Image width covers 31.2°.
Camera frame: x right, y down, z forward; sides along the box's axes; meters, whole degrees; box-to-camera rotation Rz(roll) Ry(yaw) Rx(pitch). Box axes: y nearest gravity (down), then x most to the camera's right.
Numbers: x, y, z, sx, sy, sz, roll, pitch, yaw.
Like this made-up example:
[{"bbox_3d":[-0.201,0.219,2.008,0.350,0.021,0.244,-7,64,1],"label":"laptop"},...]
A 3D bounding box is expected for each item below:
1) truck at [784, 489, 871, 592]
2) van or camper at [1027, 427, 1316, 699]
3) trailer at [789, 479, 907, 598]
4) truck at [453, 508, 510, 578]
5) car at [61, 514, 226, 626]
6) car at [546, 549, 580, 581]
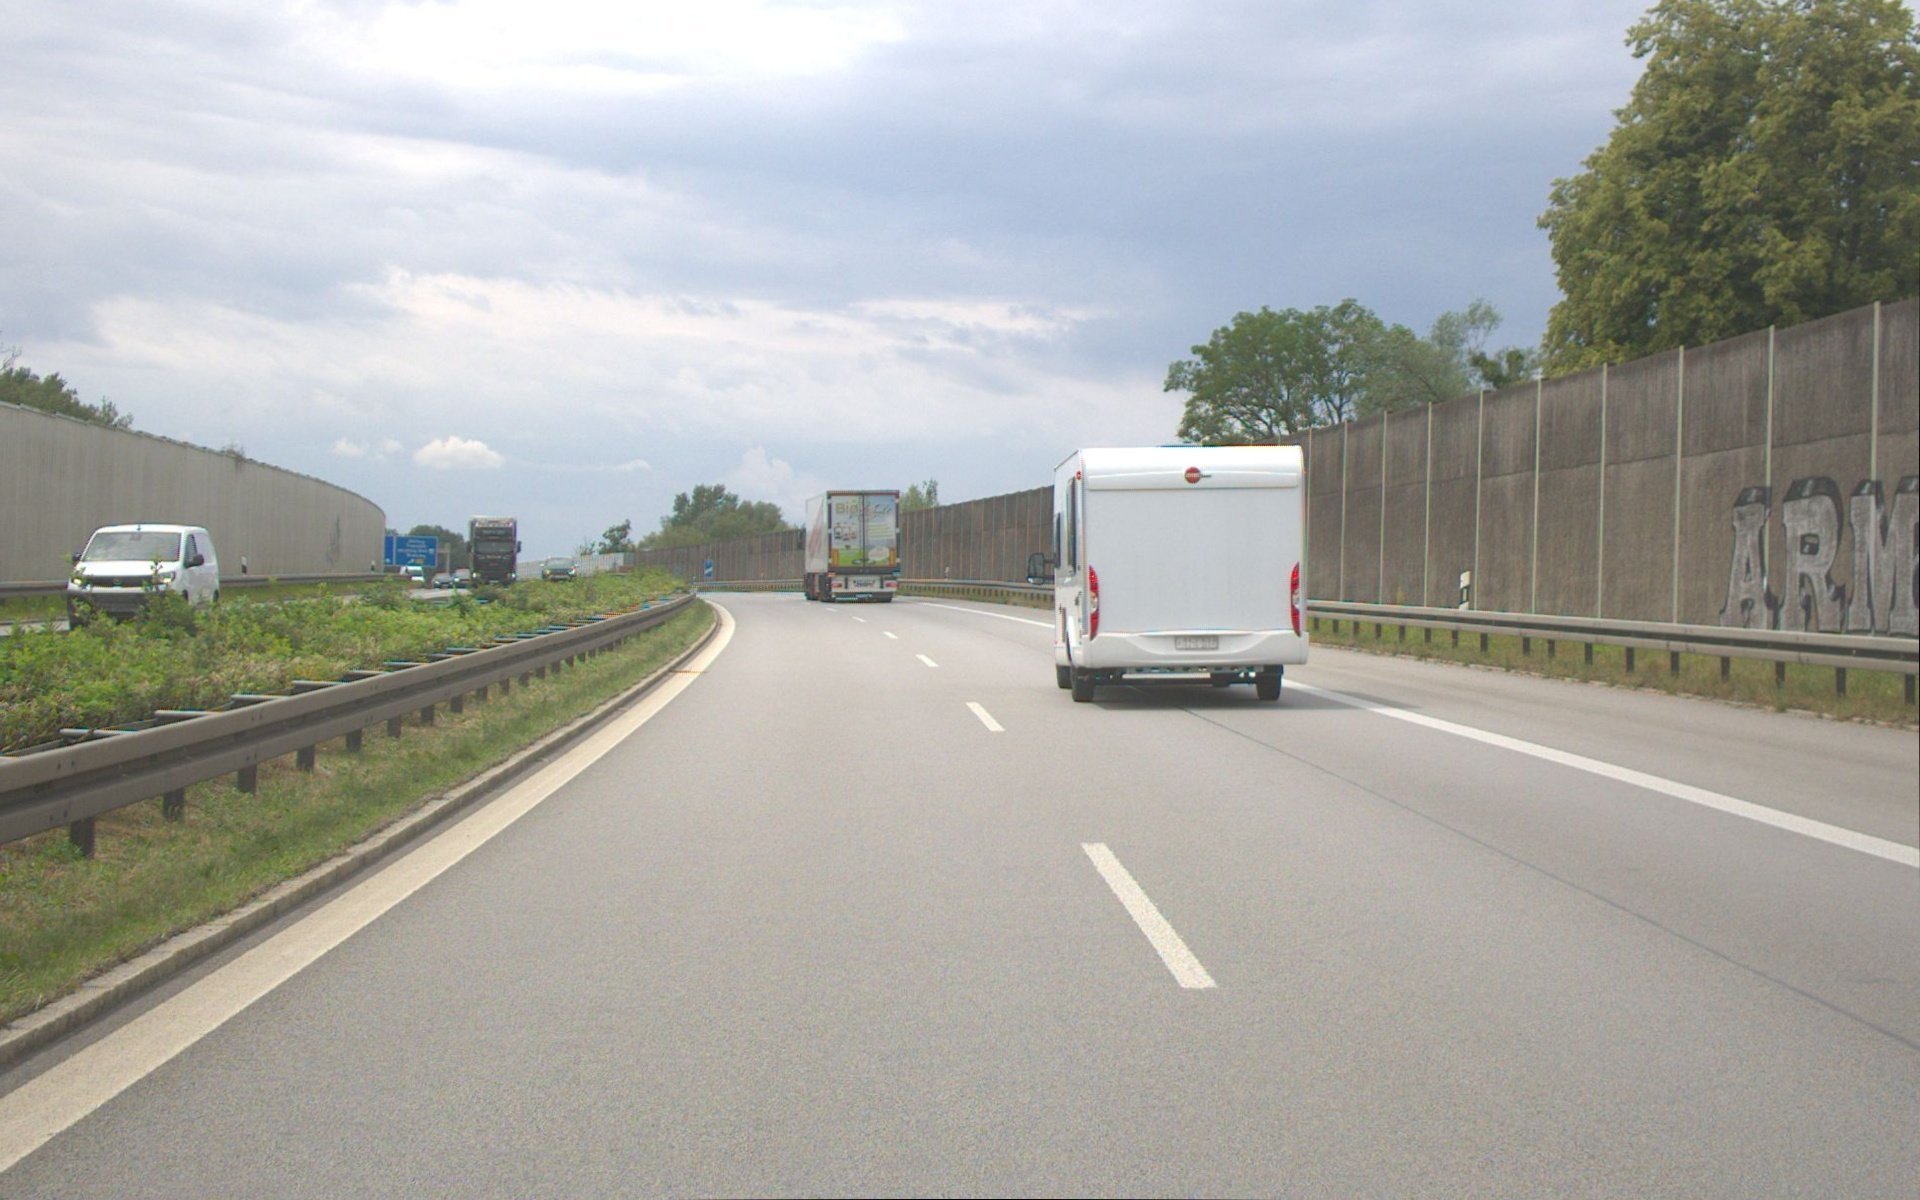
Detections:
[{"bbox_3d":[-5.251,-2.285,135.352,2.755,3.946,5.678,0,0,-9],"label":"truck"},{"bbox_3d":[2.186,-0.408,37.980,2.429,2.687,7.226,1,1,-2],"label":"van or camper"},{"bbox_3d":[-4.317,-2.284,129.035,2.792,4.160,14.107,1,1,-8],"label":"trailer"},{"bbox_3d":[-27.008,-3.199,194.277,2.873,3.845,6.076,-1,1,-5],"label":"truck"},{"bbox_3d":[-13.204,-0.501,55.826,1.741,1.738,4.628,0,1,-2],"label":"car"},{"bbox_3d":[-20.692,-1.847,179.228,1.715,1.636,4.705,0,1,-7],"label":"car"}]
